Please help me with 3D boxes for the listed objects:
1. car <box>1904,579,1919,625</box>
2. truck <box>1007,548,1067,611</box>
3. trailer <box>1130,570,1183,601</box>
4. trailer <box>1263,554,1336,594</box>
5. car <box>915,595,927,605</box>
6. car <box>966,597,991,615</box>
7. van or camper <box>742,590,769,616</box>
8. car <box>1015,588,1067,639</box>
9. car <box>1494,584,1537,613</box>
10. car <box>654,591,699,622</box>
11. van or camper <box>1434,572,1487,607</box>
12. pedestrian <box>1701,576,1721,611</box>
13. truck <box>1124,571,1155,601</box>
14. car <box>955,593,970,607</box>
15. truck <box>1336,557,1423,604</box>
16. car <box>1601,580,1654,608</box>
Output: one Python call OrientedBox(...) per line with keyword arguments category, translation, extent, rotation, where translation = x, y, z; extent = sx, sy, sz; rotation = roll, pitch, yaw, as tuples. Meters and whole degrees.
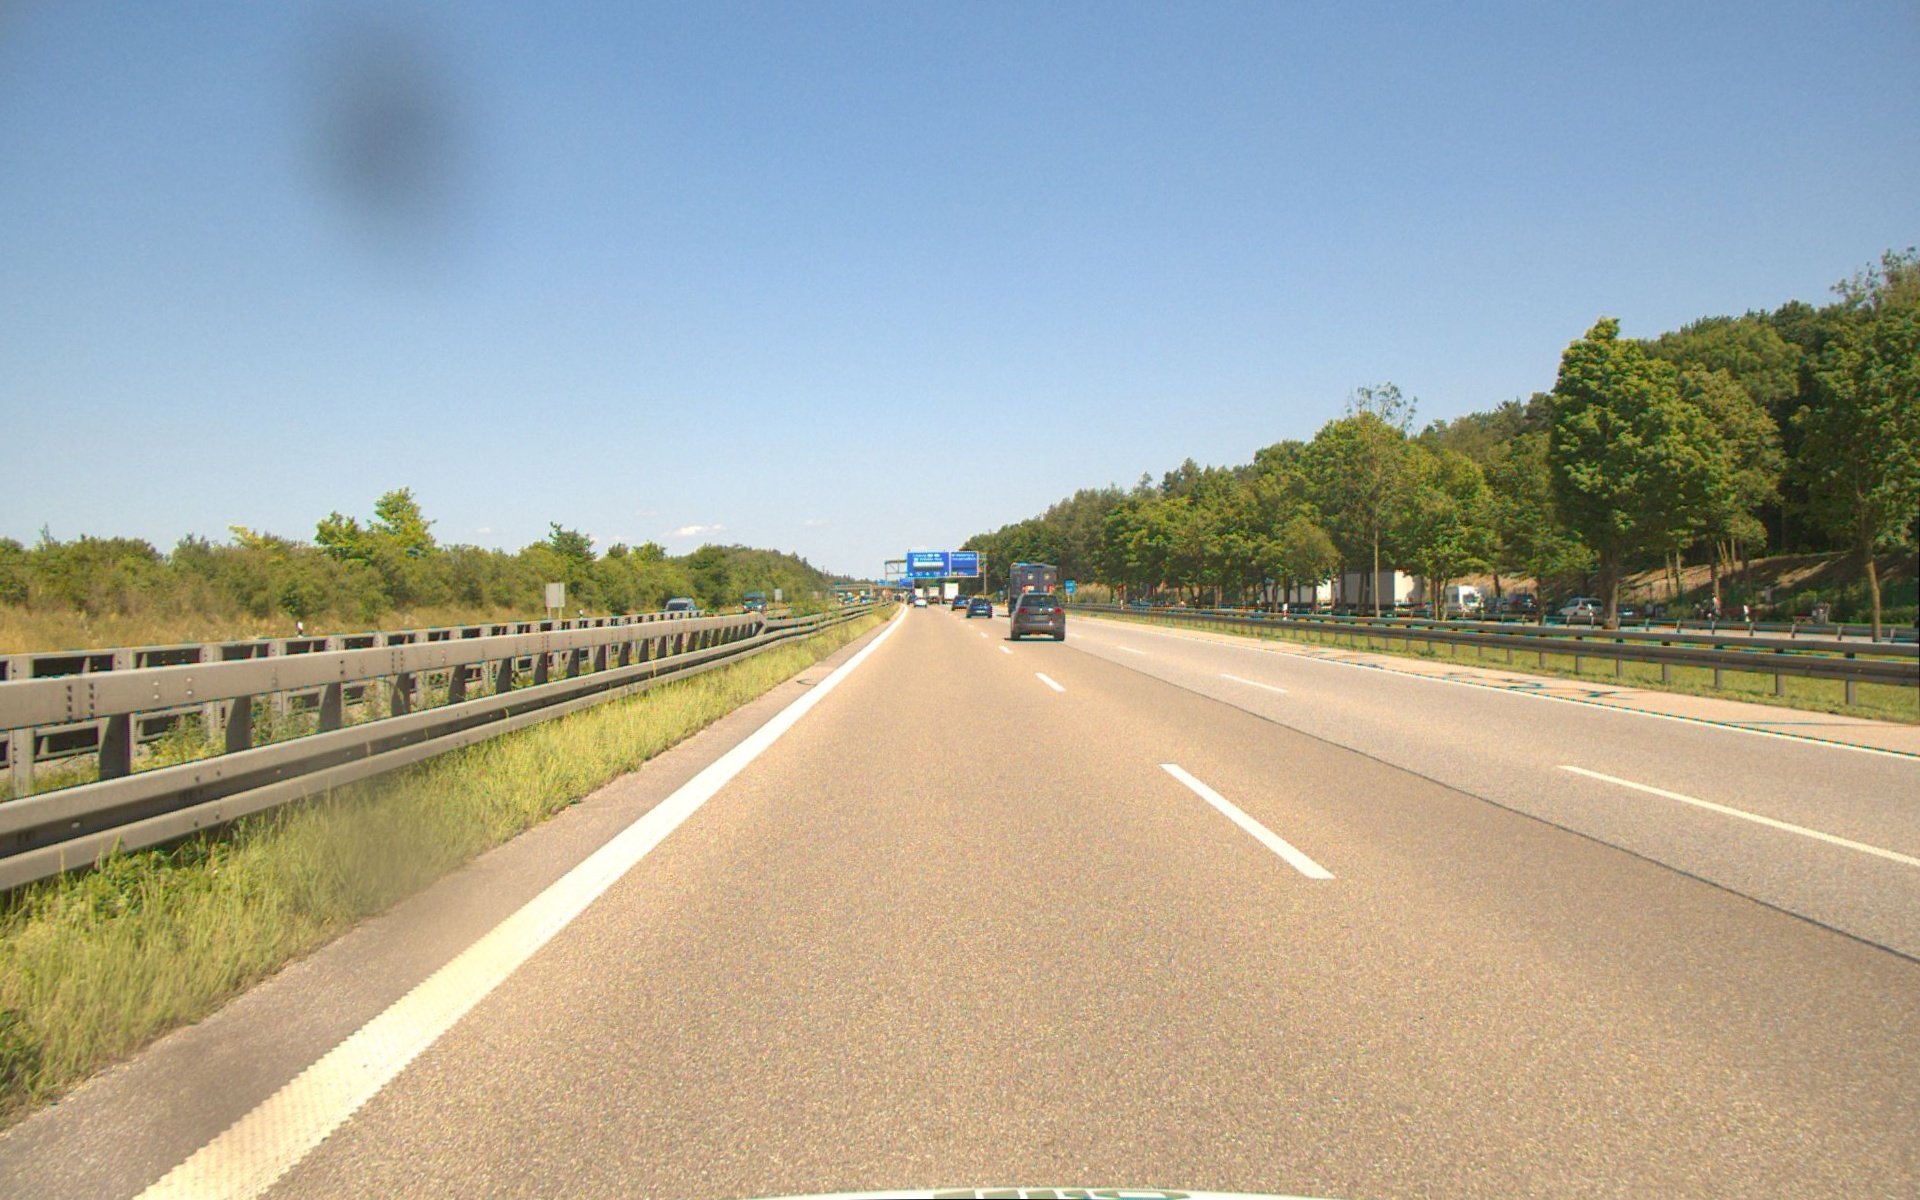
OrientedBox(category="car", translation=(36.498, 0.069, 60.446), extent=(1.951, 1.680, 4.322), rotation=(-1, 1, 8))
OrientedBox(category="truck", translation=(5.696, -1.514, 124.912), extent=(3.703, 4.499, 14.048), rotation=(0, 0, -1))
OrientedBox(category="trailer", translation=(25.346, -1.836, 213.964), extent=(2.528, 3.983, 12.701), rotation=(0, 0, -14))
OrientedBox(category="trailer", translation=(34.692, -2.580, 169.722), extent=(2.804, 3.863, 14.163), rotation=(0, 0, -8))
OrientedBox(category="car", translation=(-5.116, -0.051, 216.498), extent=(1.441, 1.249, 3.410), rotation=(-1, 0, -1))
OrientedBox(category="car", translation=(1.291, 0.406, 115.916), extent=(1.674, 1.176, 3.688), rotation=(-1, 0, -1))
OrientedBox(category="van or camper", translation=(-20.288, 0.300, 164.649), extent=(1.953, 2.433, 6.240), rotation=(-2, 1, -1))
OrientedBox(category="car", translation=(2.819, 0.445, 58.259), extent=(1.762, 1.698, 4.259), rotation=(1, 1, 2))
OrientedBox(category="car", translation=(38.629, -0.108, 115.092), extent=(1.621, 1.910, 4.802), rotation=(0, 0, 3))
OrientedBox(category="car", translation=(-18.334, 0.385, 107.115), extent=(1.953, 1.867, 5.332), rotation=(-3, 0, -1))
OrientedBox(category="van or camper", translation=(38.625, -0.795, 127.801), extent=(2.159, 2.575, 5.874), rotation=(0, 0, -1))
OrientedBox(category="pedestrian", translation=(39.049, -0.341, 86.009), extent=(0.781, 1.813, 0.643), rotation=(-1, 0, 12))
OrientedBox(category="truck", translation=(23.834, -1.878, 219.917), extent=(2.528, 3.983, 4.848), rotation=(0, 0, -14))
OrientedBox(category="car", translation=(0.266, -0.035, 175.124), extent=(1.441, 1.422, 3.410), rotation=(2, 0, -1))
OrientedBox(category="truck", translation=(37.541, -1.656, 148.746), extent=(2.938, 4.000, 14.443), rotation=(0, 0, -5))
OrientedBox(category="car", translation=(39.735, -0.372, 98.573), extent=(1.951, 1.601, 4.003), rotation=(-1, 0, 7))
